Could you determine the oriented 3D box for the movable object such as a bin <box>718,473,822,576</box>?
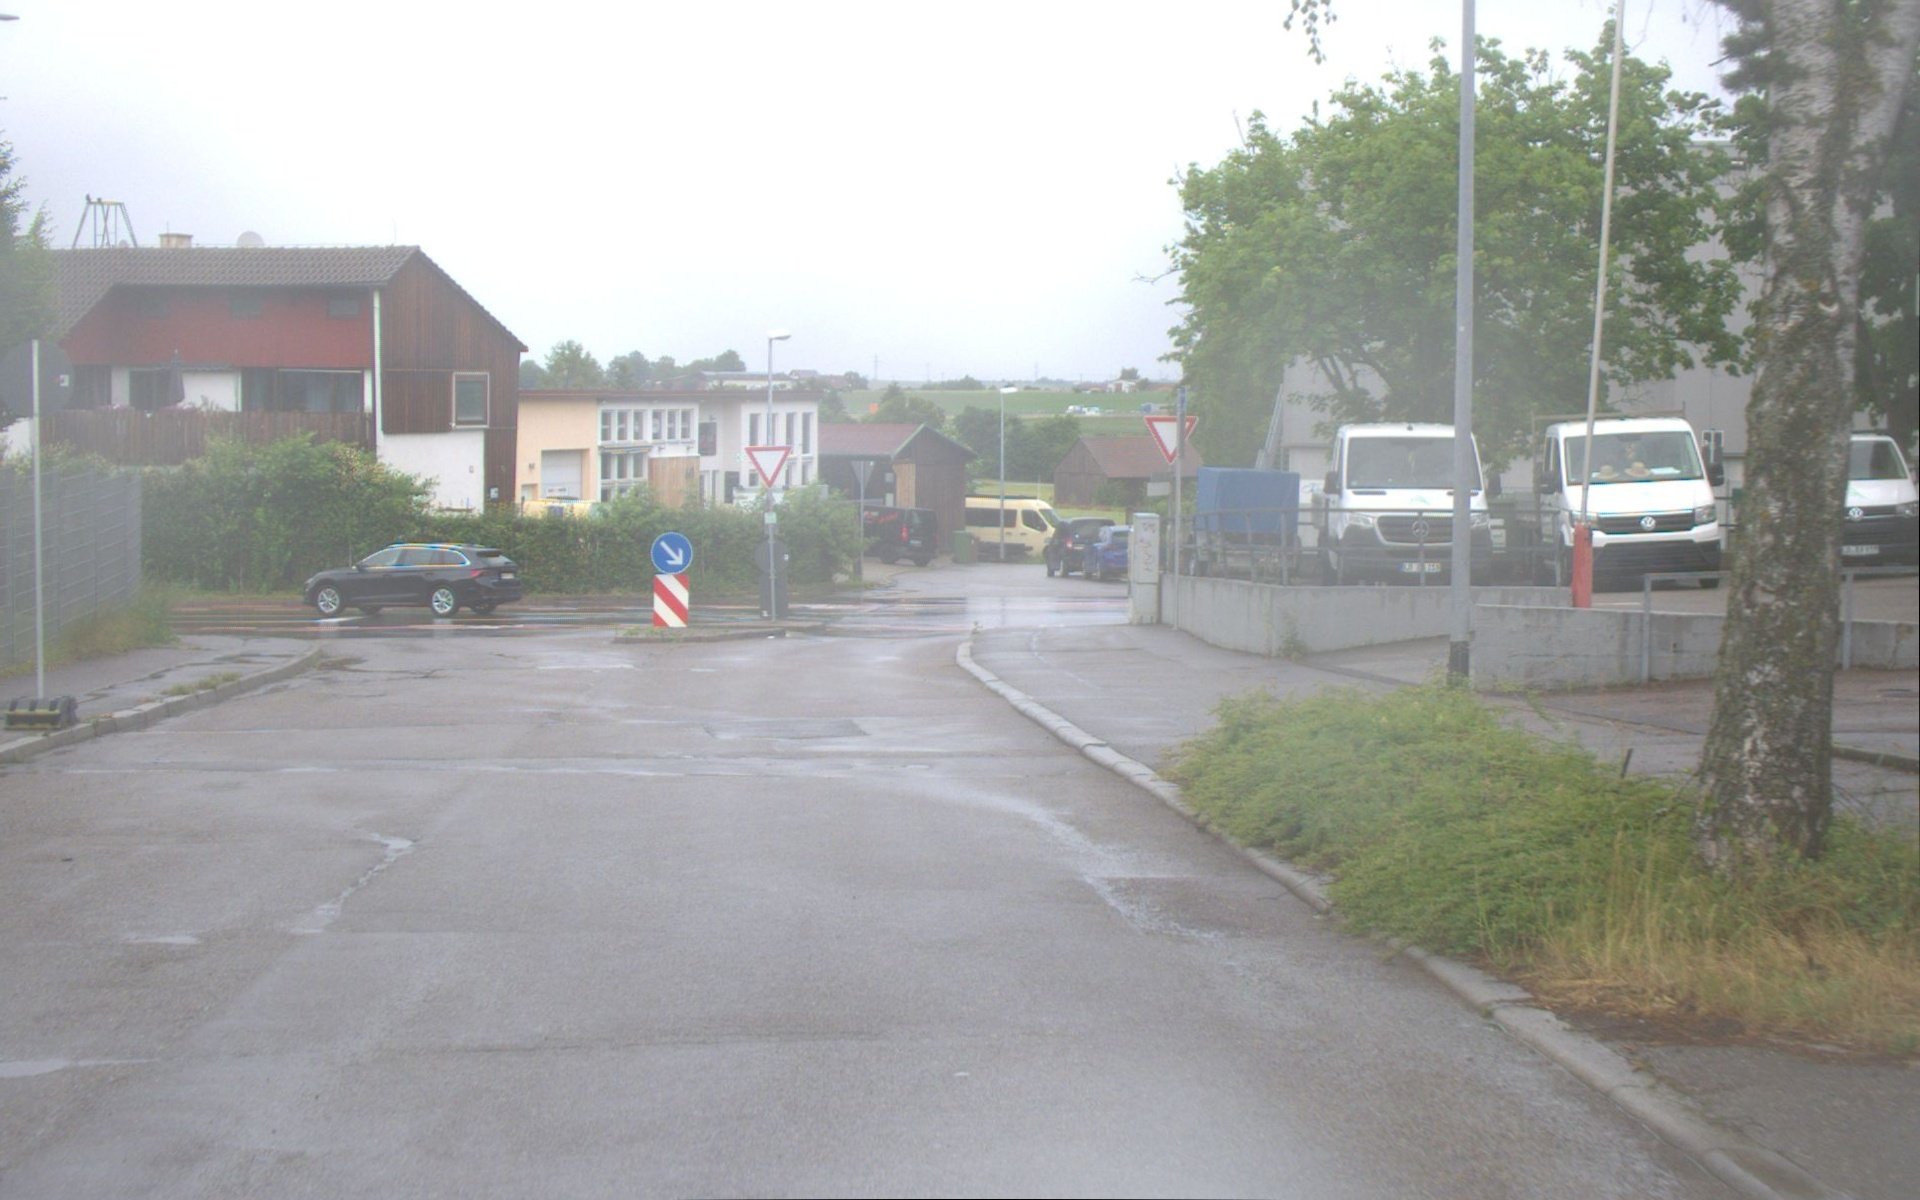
[{"bbox_3d":[-4.813,-1.906,87.462,1.734,2.548,3.337,0,1,14],"label":"movable object such as a bin"}]

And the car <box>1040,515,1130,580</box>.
[{"bbox_3d":[3.577,-1.523,99.177,2.073,1.828,4.471,0,1,-5],"label":"car"}]

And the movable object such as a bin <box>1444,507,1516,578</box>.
[{"bbox_3d":[7.766,-0.860,51.347,1.050,1.039,0.884,0,1,9],"label":"movable object such as a bin"}]

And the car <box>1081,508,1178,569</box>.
[{"bbox_3d":[4.557,-1.663,92.952,1.951,1.604,4.448,0,1,-6],"label":"car"}]

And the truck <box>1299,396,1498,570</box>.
[{"bbox_3d":[5.863,-1.525,46.602,2.105,2.206,5.653,0,1,2],"label":"truck"}]

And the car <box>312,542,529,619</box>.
[{"bbox_3d":[-10.959,-0.408,69.921,3.989,1.529,1.760,0,1,14],"label":"car"}]

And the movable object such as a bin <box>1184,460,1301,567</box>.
[{"bbox_3d":[4.028,-1.226,49.189,1.306,1.495,1.859,0,1,-7],"label":"movable object such as a bin"}]

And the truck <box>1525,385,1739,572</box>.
[{"bbox_3d":[8.908,-1.570,45.958,2.243,2.334,4.836,-1,1,5],"label":"truck"}]

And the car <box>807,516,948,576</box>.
[{"bbox_3d":[-2.683,-1.743,110.889,4.406,1.898,1.995,1,1,42],"label":"car"}]

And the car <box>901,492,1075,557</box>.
[{"bbox_3d":[1.039,-2.809,128.420,6.015,2.407,2.461,0,1,20],"label":"car"}]

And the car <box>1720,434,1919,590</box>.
[{"bbox_3d":[11.683,-1.168,46.754,2.057,2.007,4.938,0,1,6],"label":"car"}]
